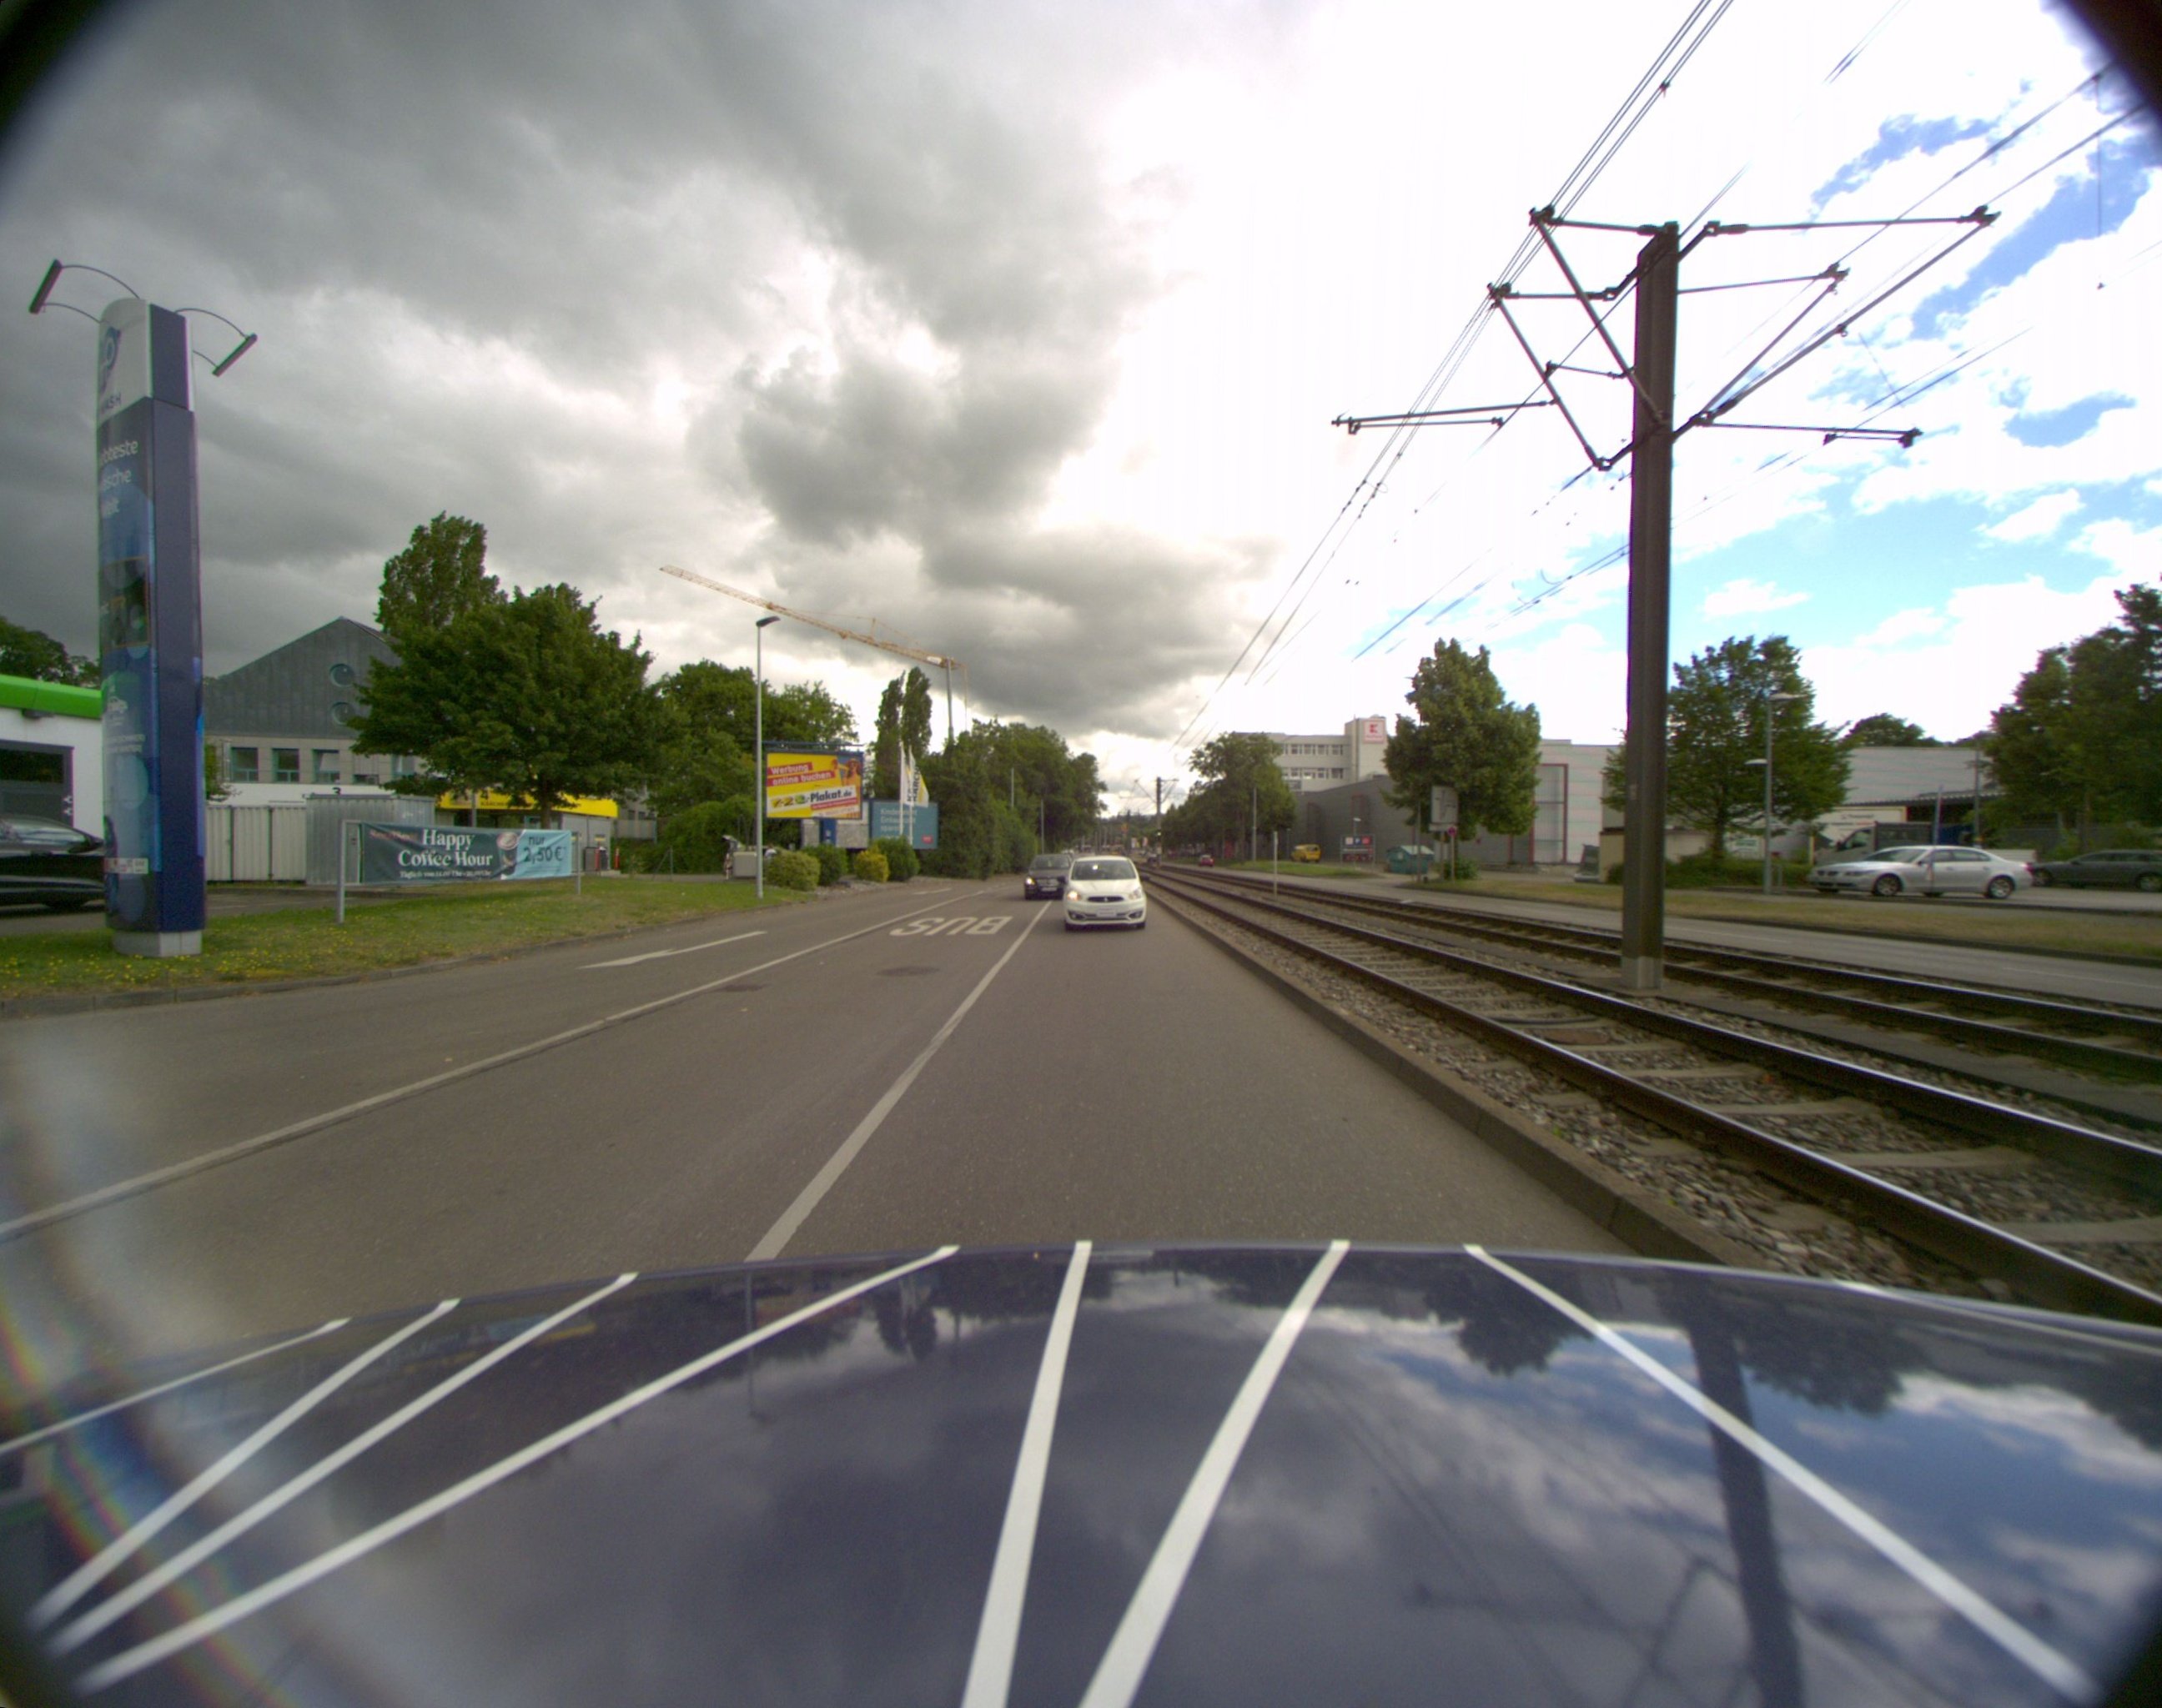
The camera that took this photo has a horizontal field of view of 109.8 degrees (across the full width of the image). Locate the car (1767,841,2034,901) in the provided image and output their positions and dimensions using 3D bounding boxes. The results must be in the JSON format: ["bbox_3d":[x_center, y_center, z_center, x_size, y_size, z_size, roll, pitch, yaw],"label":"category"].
[{"bbox_3d":[23.408,0.468,21.927,4.793,1.619,2.652,0,0,1],"label":"car"}]

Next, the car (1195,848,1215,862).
[{"bbox_3d":[15.709,0.160,96.241,1.797,1.761,3.999,0,0,-1],"label":"car"}]

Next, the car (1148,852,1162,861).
[{"bbox_3d":[12.039,0.416,123.631,1.763,1.393,4.443,2,0,0],"label":"car"}]

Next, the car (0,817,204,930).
[{"bbox_3d":[-16.928,0.259,11.650,1.824,1.665,4.337,2,1,3],"label":"car"}]

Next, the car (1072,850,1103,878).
[{"bbox_3d":[0.395,0.547,44.942,1.693,1.521,4.000,-2,1,1],"label":"car"}]

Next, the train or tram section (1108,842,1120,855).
[{"bbox_3d":[9.721,-1.681,224.106,2.778,3.753,13.784,-1,0,-1],"label":"train or tram section"}]

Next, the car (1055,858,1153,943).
[{"bbox_3d":[0.427,0.871,15.971,1.765,1.469,4.030,-2,0,0],"label":"car"}]

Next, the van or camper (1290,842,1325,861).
[{"bbox_3d":[25.256,-0.252,84.882,2.109,2.002,5.241,-1,0,-3],"label":"van or camper"}]

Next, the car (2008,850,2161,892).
[{"bbox_3d":[36.893,0.565,27.515,1.614,1.392,3.998,0,0,-5],"label":"car"}]

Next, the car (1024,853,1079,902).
[{"bbox_3d":[-0.959,0.775,26.902,1.714,1.586,4.000,-1,0,1],"label":"car"}]

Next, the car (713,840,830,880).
[{"bbox_3d":[-13.347,0.246,33.044,4.029,1.646,2.944,0,0,-6],"label":"car"}]

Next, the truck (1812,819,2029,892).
[{"bbox_3d":[29.806,0.050,27.311,1.998,2.369,5.264,0,0,1],"label":"truck"}]
